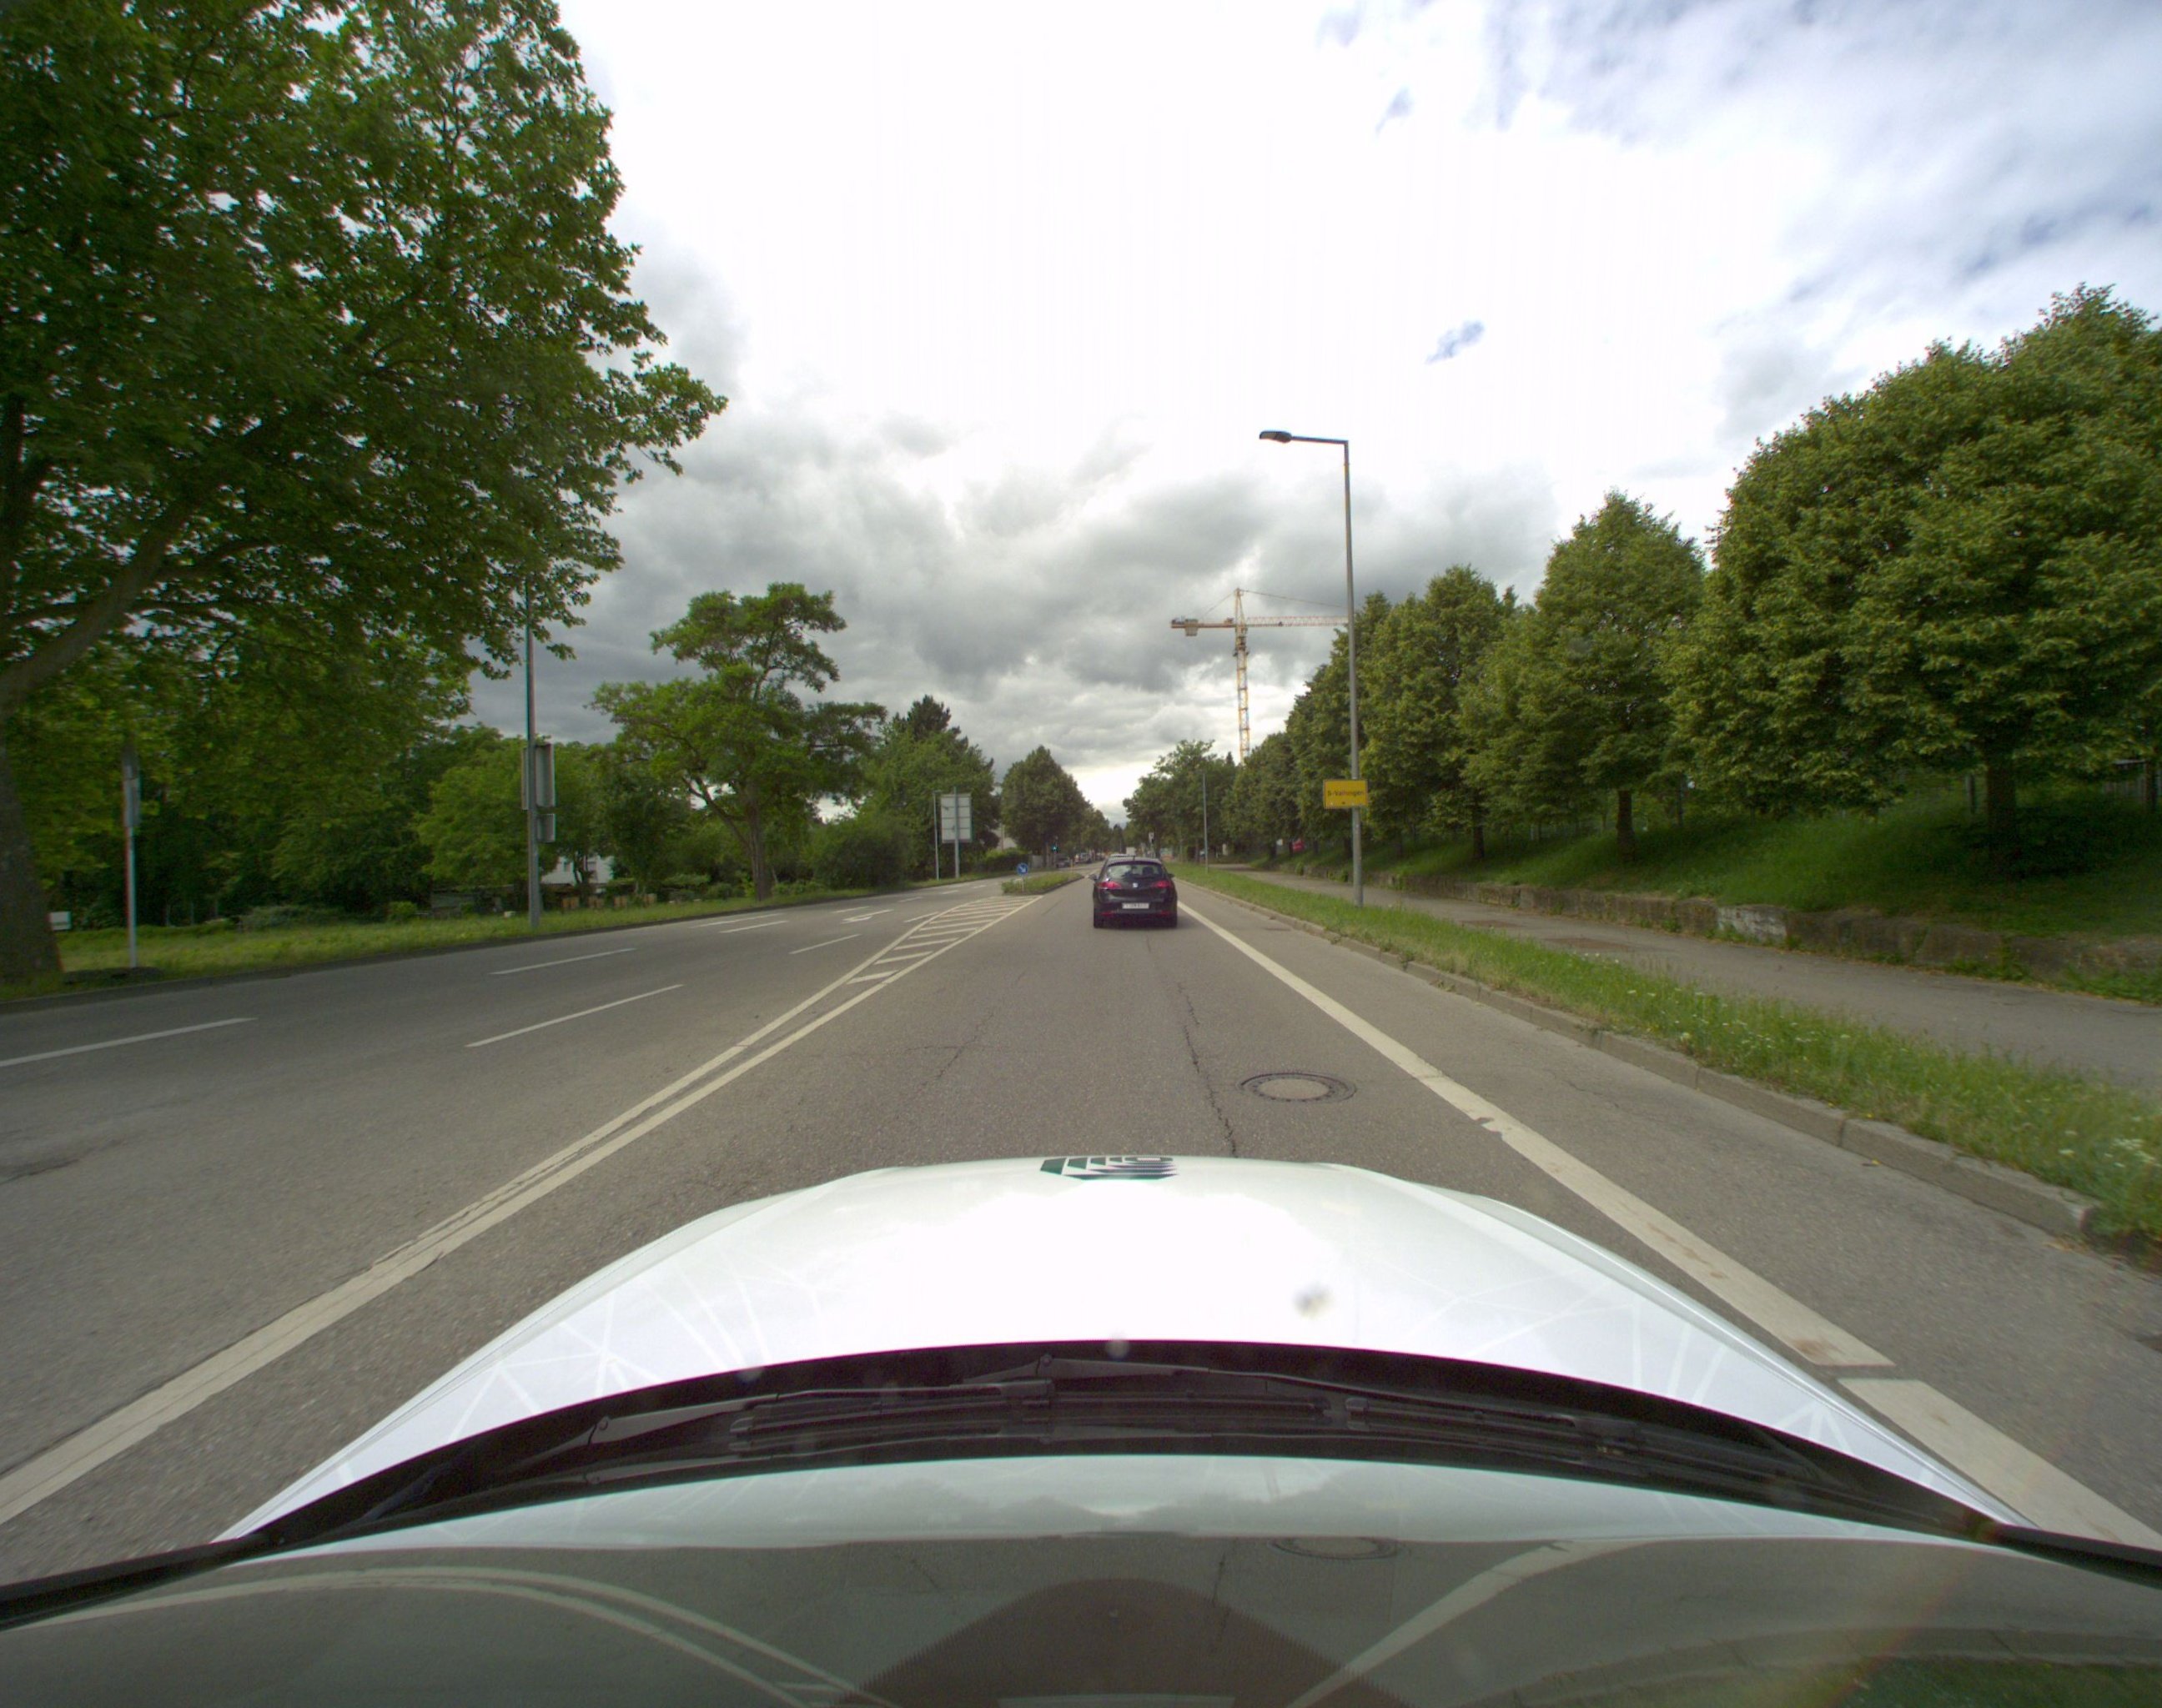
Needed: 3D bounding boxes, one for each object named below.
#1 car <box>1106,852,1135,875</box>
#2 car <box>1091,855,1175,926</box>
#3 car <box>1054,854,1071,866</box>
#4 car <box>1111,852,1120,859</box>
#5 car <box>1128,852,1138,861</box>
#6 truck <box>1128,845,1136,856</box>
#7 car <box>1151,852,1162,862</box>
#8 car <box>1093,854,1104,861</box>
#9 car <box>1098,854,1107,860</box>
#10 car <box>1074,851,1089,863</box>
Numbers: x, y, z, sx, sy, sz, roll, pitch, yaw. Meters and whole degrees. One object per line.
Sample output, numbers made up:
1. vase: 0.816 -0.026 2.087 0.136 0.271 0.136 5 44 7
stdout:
1. car: 2.622 0.610 54.459 1.839 1.510 3.814 0 0 2
2. car: 1.106 0.725 17.868 1.656 1.401 3.814 0 0 3
3. car: -2.447 0.798 108.898 1.710 1.395 4.806 -4 0 4
4. car: 8.541 0.316 200.244 1.865 1.635 4.347 -4 0 6
5. car: 10.155 0.446 159.381 1.873 1.689 4.218 -2 0 4
6. truck: 14.709 -0.893 235.463 2.269 3.104 8.518 0 0 3
7. car: 12.149 0.489 131.864 1.681 1.490 3.358 -2 0 4
8. car: 4.187 0.806 195.197 2.091 1.506 5.790 -4 0 4
9. car: 6.048 0.811 228.003 2.091 1.506 5.790 -4 0 4
10. car: 0.140 0.501 138.039 2.091 1.896 5.790 -4 0 4
